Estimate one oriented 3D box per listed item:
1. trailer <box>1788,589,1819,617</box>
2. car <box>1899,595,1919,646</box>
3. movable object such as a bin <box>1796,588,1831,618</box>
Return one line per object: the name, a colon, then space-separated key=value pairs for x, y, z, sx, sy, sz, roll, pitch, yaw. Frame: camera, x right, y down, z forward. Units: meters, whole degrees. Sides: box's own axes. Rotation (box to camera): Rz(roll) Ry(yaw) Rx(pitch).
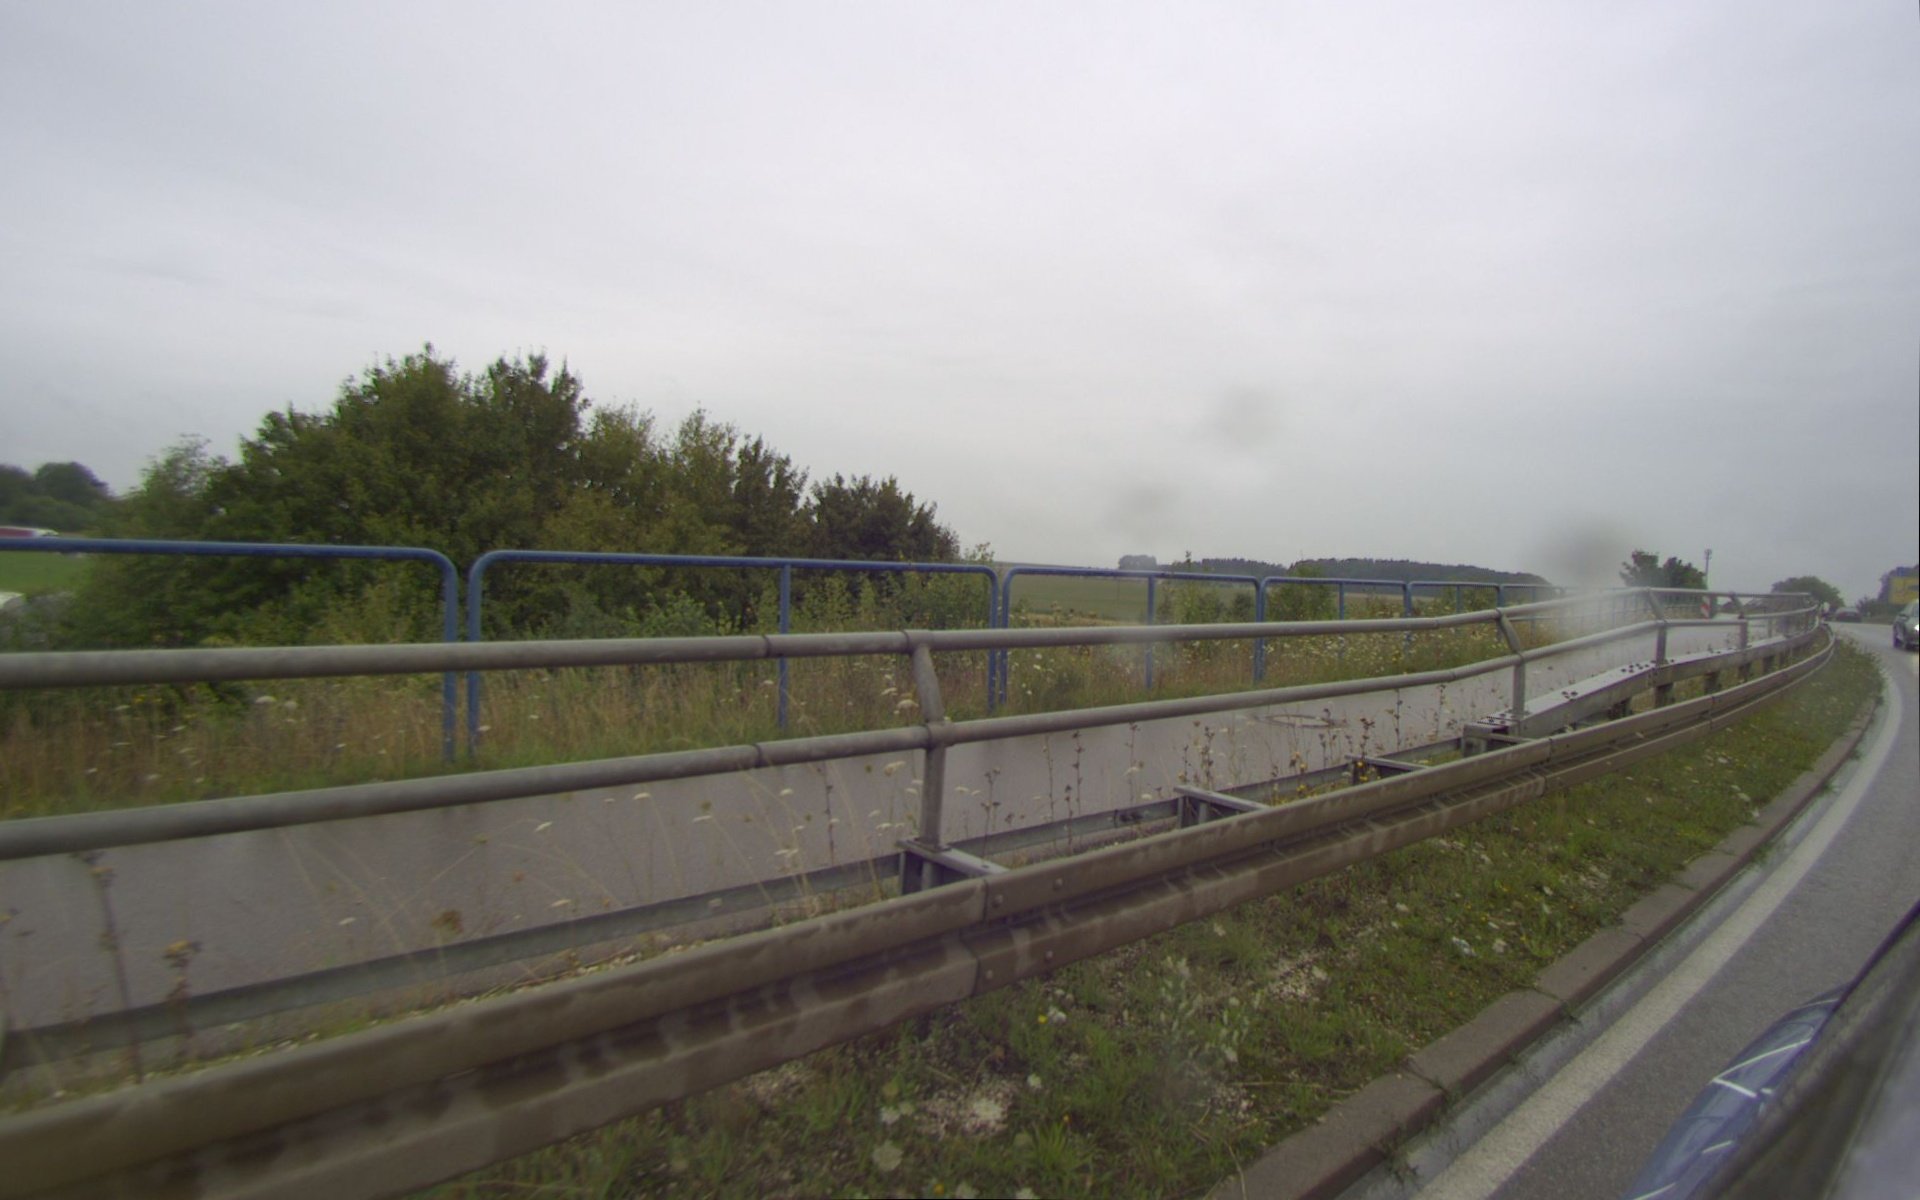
trailer: x=130.193 y=0.518 z=156.324 sx=2.812 sy=4.019 sz=13.551 roll=4 pitch=2 yaw=37
car: x=28.442 y=0.582 z=29.048 sx=1.811 sy=1.408 sz=4.013 roll=1 pitch=1 yaw=38
movable object such as a bin: x=105.504 y=0.363 z=125.134 sx=2.741 sy=3.487 sz=4.584 roll=4 pitch=3 yaw=35
